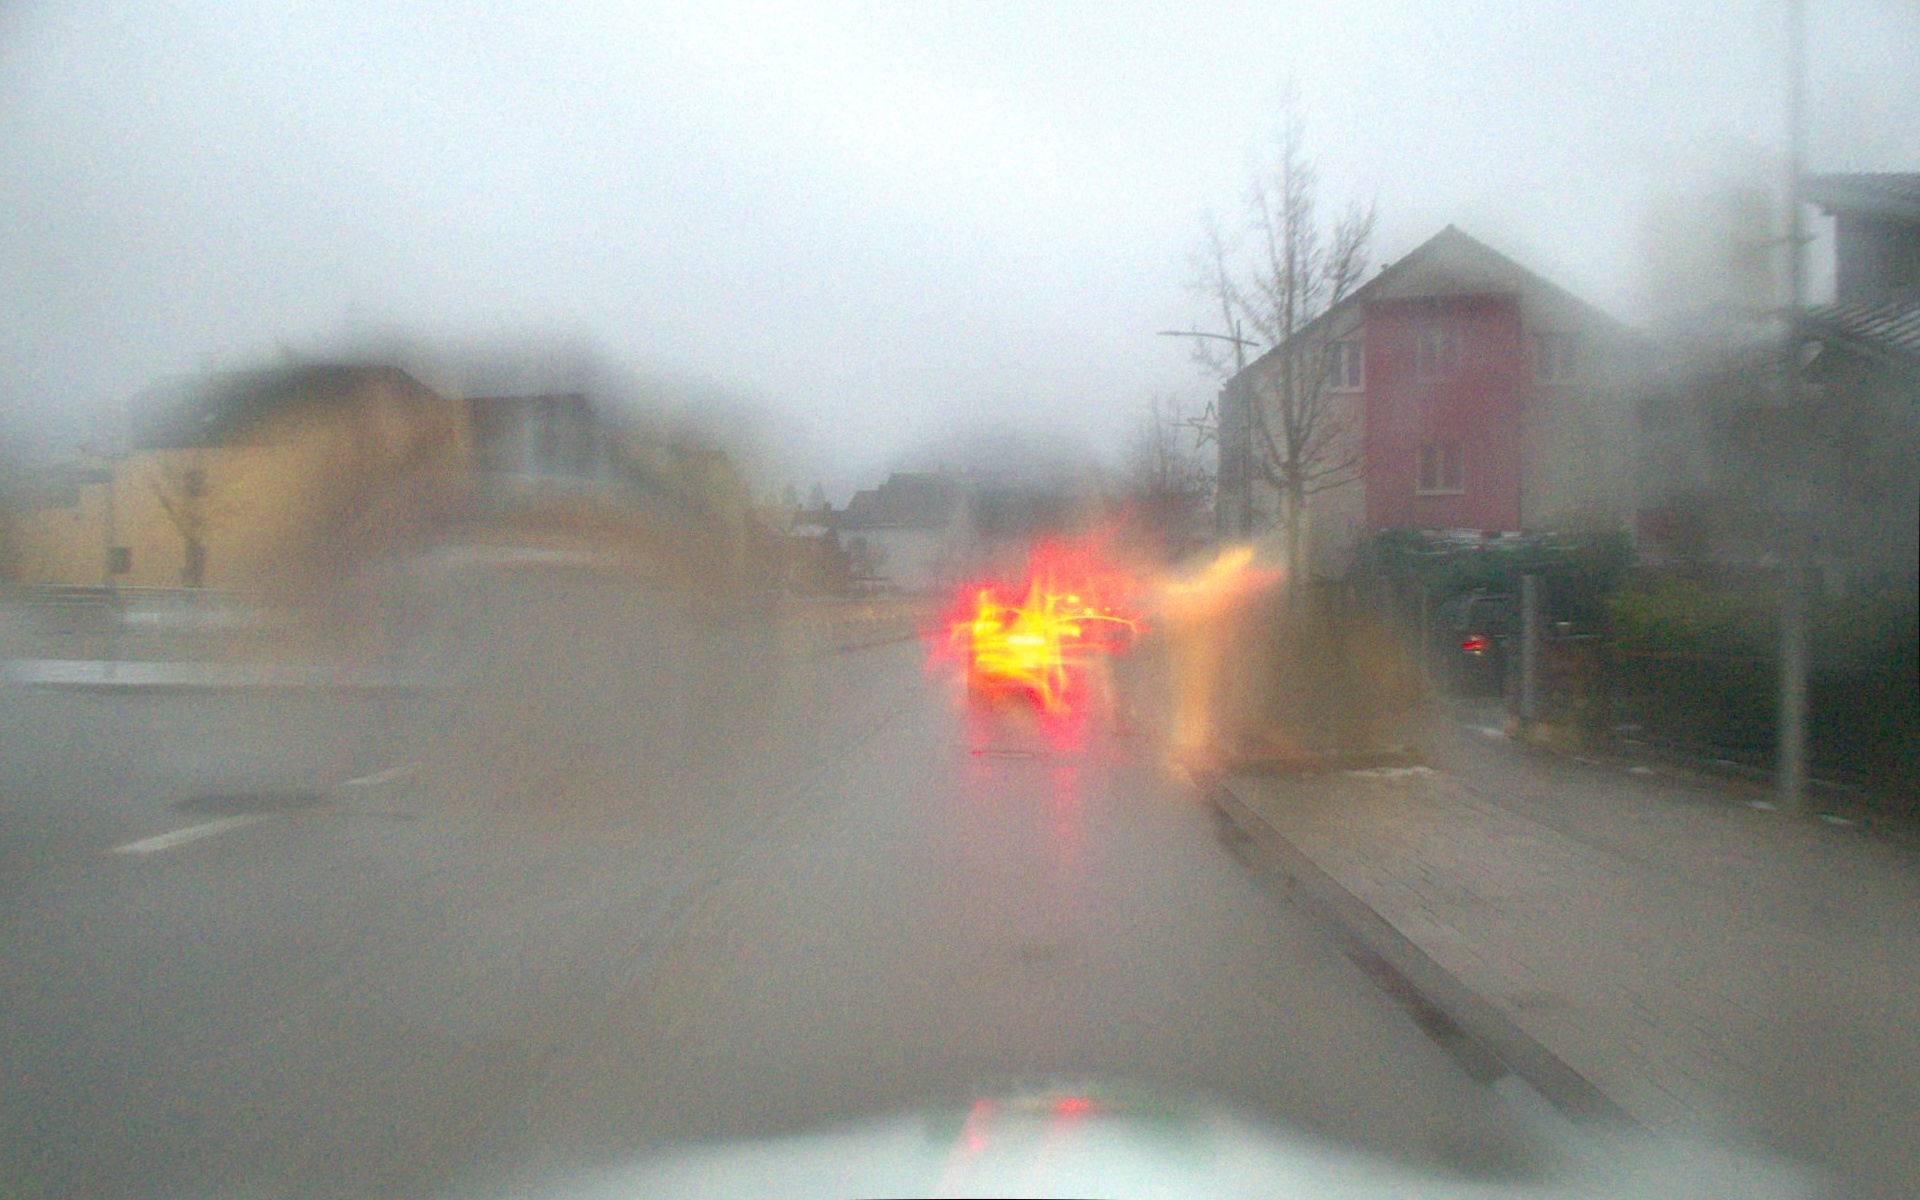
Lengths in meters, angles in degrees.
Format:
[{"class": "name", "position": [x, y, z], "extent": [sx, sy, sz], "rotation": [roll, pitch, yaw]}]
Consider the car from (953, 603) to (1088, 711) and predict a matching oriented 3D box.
[{"class": "car", "position": [0.996, 0.843, 26.153], "extent": [1.952, 1.552, 4.001], "rotation": [1, 0, 3]}]

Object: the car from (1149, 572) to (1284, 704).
[{"class": "car", "position": [3.900, 0.524, 25.711], "extent": [1.708, 1.816, 4.338], "rotation": [-2, 0, 5]}]

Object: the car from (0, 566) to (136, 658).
[{"class": "car", "position": [-21.878, 0.243, 39.326], "extent": [1.951, 2.049, 4.003], "rotation": [2, 0, 12]}]

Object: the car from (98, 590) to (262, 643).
[{"class": "car", "position": [-21.263, 0.440, 45.291], "extent": [1.951, 1.330, 4.116], "rotation": [2, 0, 12]}]

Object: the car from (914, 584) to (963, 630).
[{"class": "car", "position": [-0.996, 0.335, 77.347], "extent": [1.952, 2.049, 4.001], "rotation": [1, -1, 4]}]

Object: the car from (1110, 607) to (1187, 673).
[{"class": "car", "position": [5.237, 1.123, 45.558], "extent": [1.951, 1.699, 4.003], "rotation": [1, -2, 8]}]

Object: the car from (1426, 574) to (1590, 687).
[{"class": "car", "position": [8.474, 0.424, 25.937], "extent": [1.926, 1.611, 4.340], "rotation": [0, 0, 11]}]

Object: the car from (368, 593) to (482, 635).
[{"class": "car", "position": [-18.566, 0.464, 57.591], "extent": [1.951, 1.330, 4.116], "rotation": [2, 0, 12]}]

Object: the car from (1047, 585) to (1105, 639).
[{"class": "car", "position": [4.588, 0.487, 64.956], "extent": [1.951, 2.049, 4.003], "rotation": [1, -1, 8]}]

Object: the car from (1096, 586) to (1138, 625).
[{"class": "car", "position": [8.657, 0.341, 91.123], "extent": [1.951, 2.049, 4.003], "rotation": [1, -1, 10]}]
